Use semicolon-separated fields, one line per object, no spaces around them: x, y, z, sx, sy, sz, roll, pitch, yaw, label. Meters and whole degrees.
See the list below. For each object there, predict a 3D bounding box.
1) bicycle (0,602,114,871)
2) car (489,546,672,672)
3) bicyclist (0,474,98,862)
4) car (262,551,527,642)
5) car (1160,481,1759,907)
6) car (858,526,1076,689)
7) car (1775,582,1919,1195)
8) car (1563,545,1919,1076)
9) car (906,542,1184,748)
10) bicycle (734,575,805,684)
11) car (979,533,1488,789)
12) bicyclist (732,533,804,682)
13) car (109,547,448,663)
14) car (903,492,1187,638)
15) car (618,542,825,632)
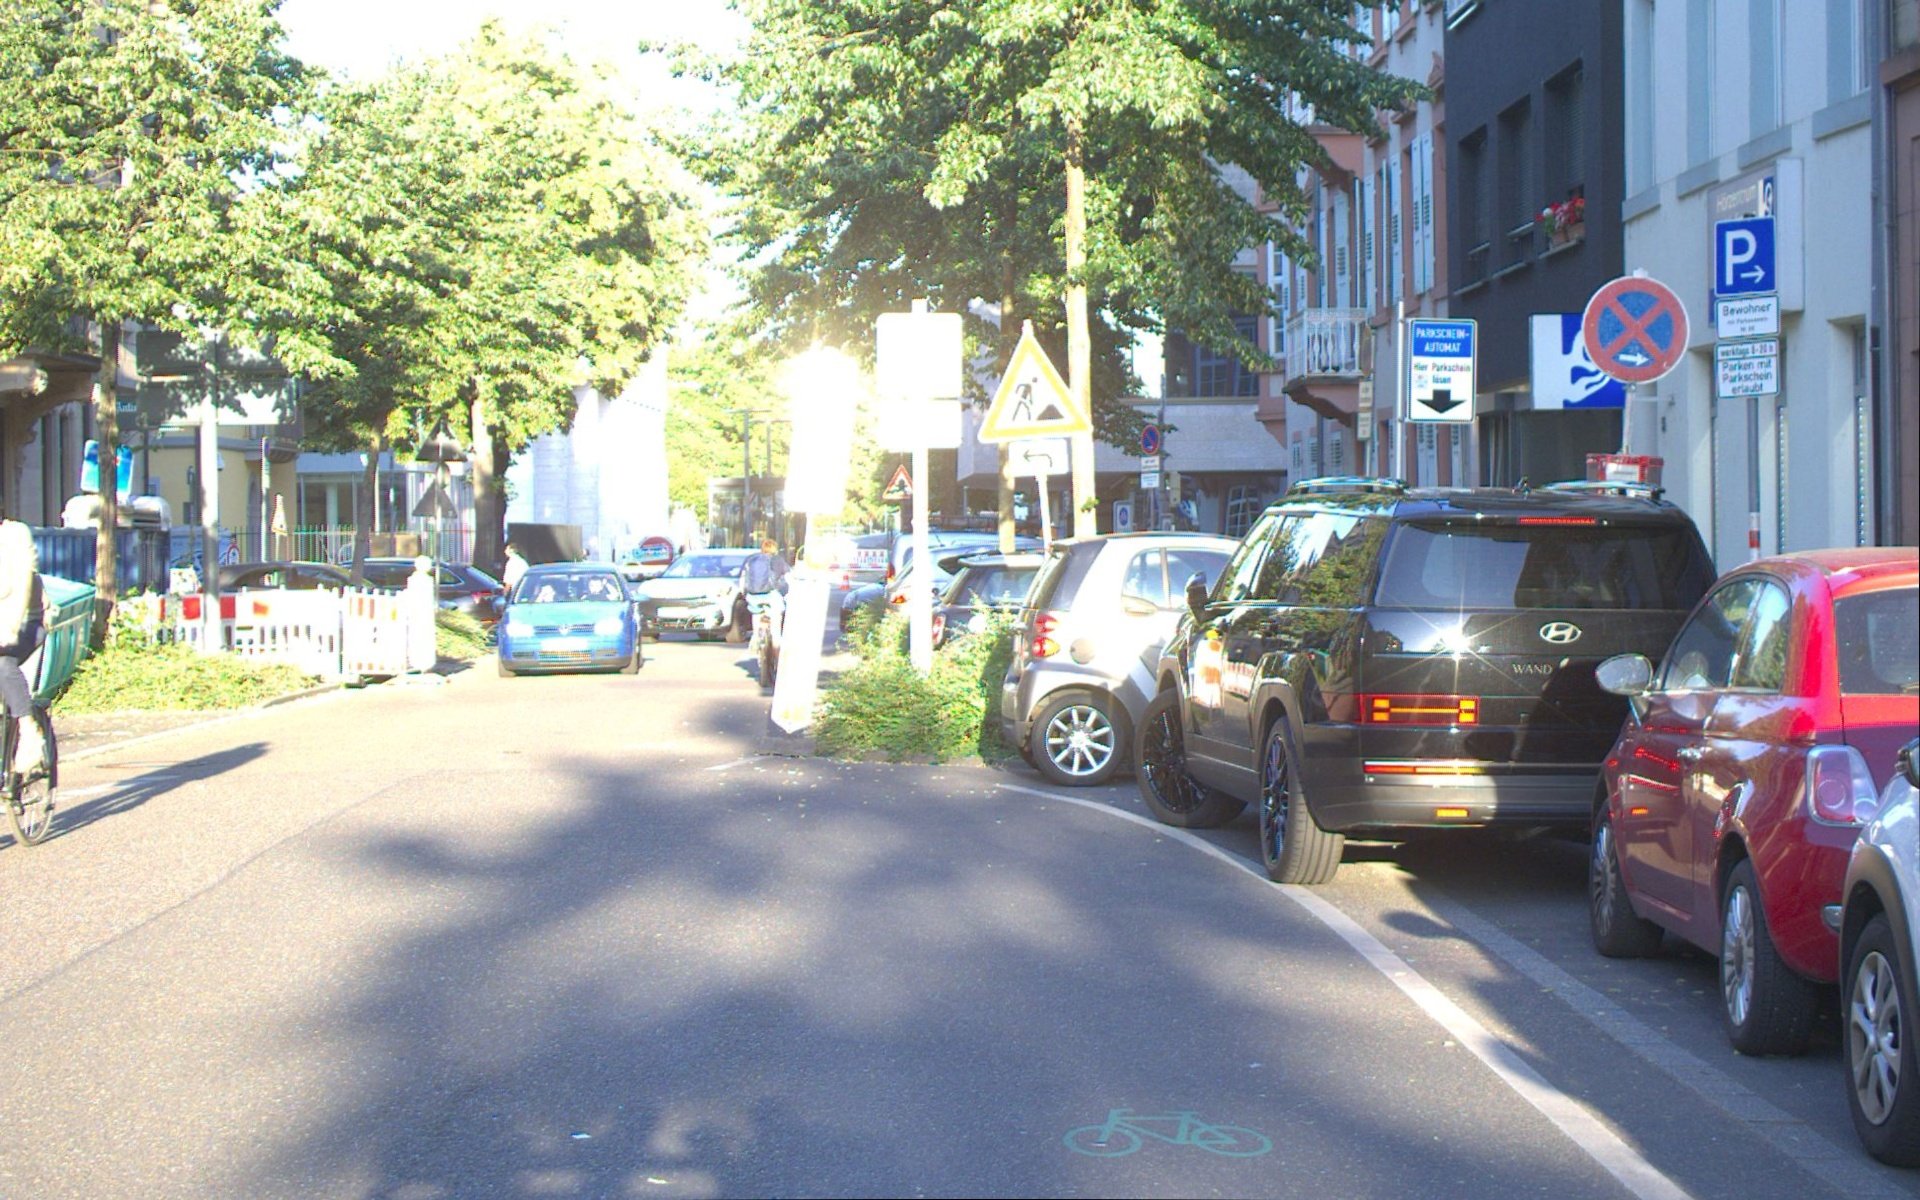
-4.703;0.630;16.678;0.780;1.200;2.021;-1;1;-4;bicycle
-4.808;0.075;44.080;1.838;1.436;4.332;-3;1;0;car
-4.705;0.321;16.701;0.780;1.823;1.007;-1;1;-3;bicyclist
-9.424;-0.069;57.523;4.102;1.460;1.889;1;0;1;car
2.131;0.357;15.942;1.824;1.689;4.369;1;1;-4;car
0.025;0.073;43.664;2.265;1.760;4.510;5;0;-4;car
3.010;0.668;7.148;1.666;1.373;3.803;1;1;-1;car
3.045;0.579;11.235;1.587;1.478;3.266;1;1;1;car
0.660;0.346;30.357;1.993;1.662;4.510;1;1;-4;car
-2.212;0.329;39.823;0.780;1.200;2.021;-1;1;-4;bicycle
1.676;0.367;21.591;2.968;1.531;1.434;1;0;-5;car
-2.233;0.077;39.864;0.780;1.690;1.007;-1;1;-3;bicyclist
-8.993;0.056;45.579;4.102;1.460;1.889;1;0;1;car
1.247;-0.515;49.371;3.987;2.007;2.000;-1;1;3;car
-4.076;-0.233;59.513;1.886;1.475;4.454;1;1;20;car
